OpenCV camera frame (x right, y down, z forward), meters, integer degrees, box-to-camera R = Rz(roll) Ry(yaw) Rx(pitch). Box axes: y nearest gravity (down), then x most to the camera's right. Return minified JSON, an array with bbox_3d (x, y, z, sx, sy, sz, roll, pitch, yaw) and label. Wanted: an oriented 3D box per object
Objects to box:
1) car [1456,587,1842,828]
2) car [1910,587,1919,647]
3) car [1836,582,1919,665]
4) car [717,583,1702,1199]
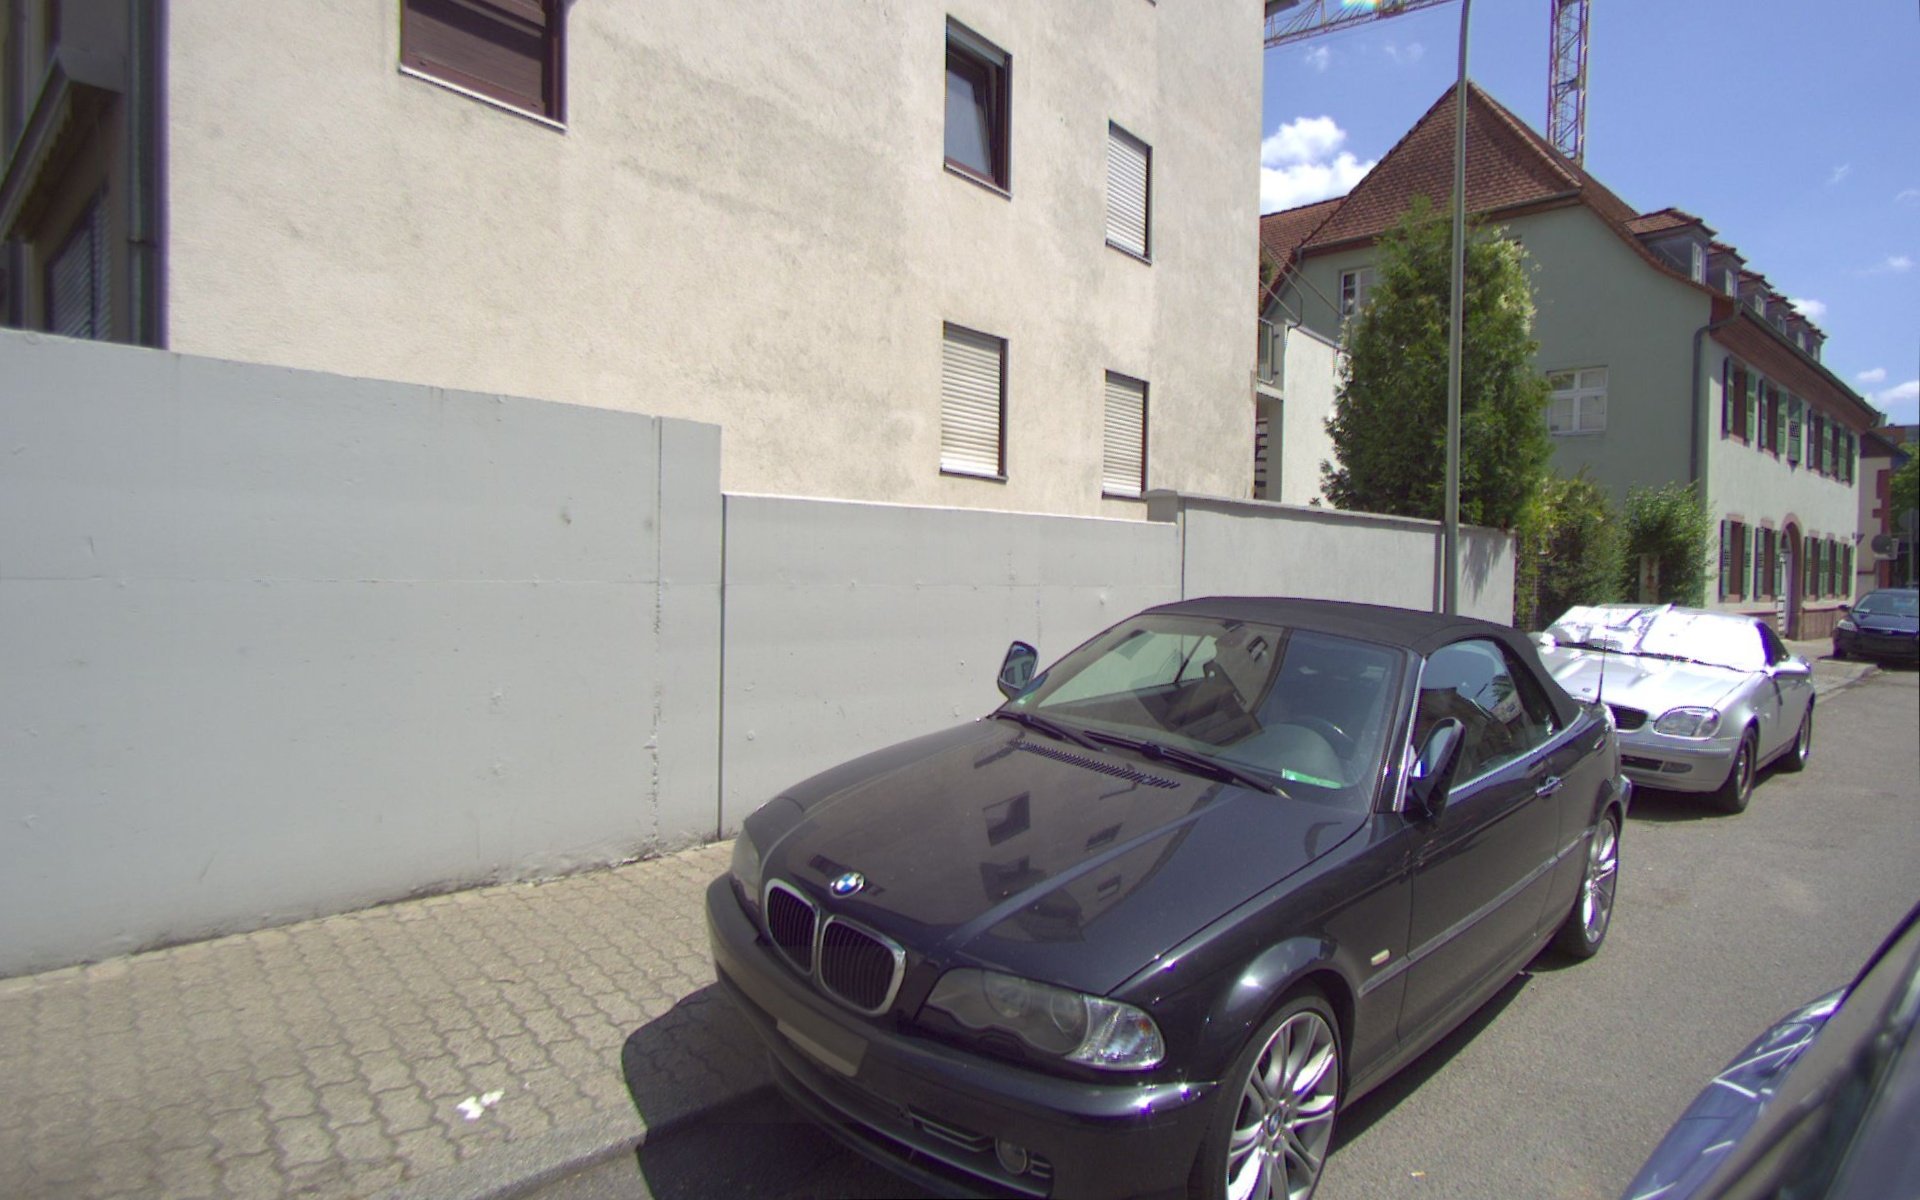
[{"bbox_3d":[5.539,0.629,7.961,3.756,1.370,1.588,-1,4,-42],"label":"car"},{"bbox_3d":[26.355,0.451,26.571,3.930,1.516,1.650,0,2,-41],"label":"car"},{"bbox_3d":[19.348,0.432,20.452,3.929,1.534,1.851,0,2,-40],"label":"car"},{"bbox_3d":[1.351,0.653,3.834,4.169,1.393,1.658,-1,3,-44],"label":"car"}]
